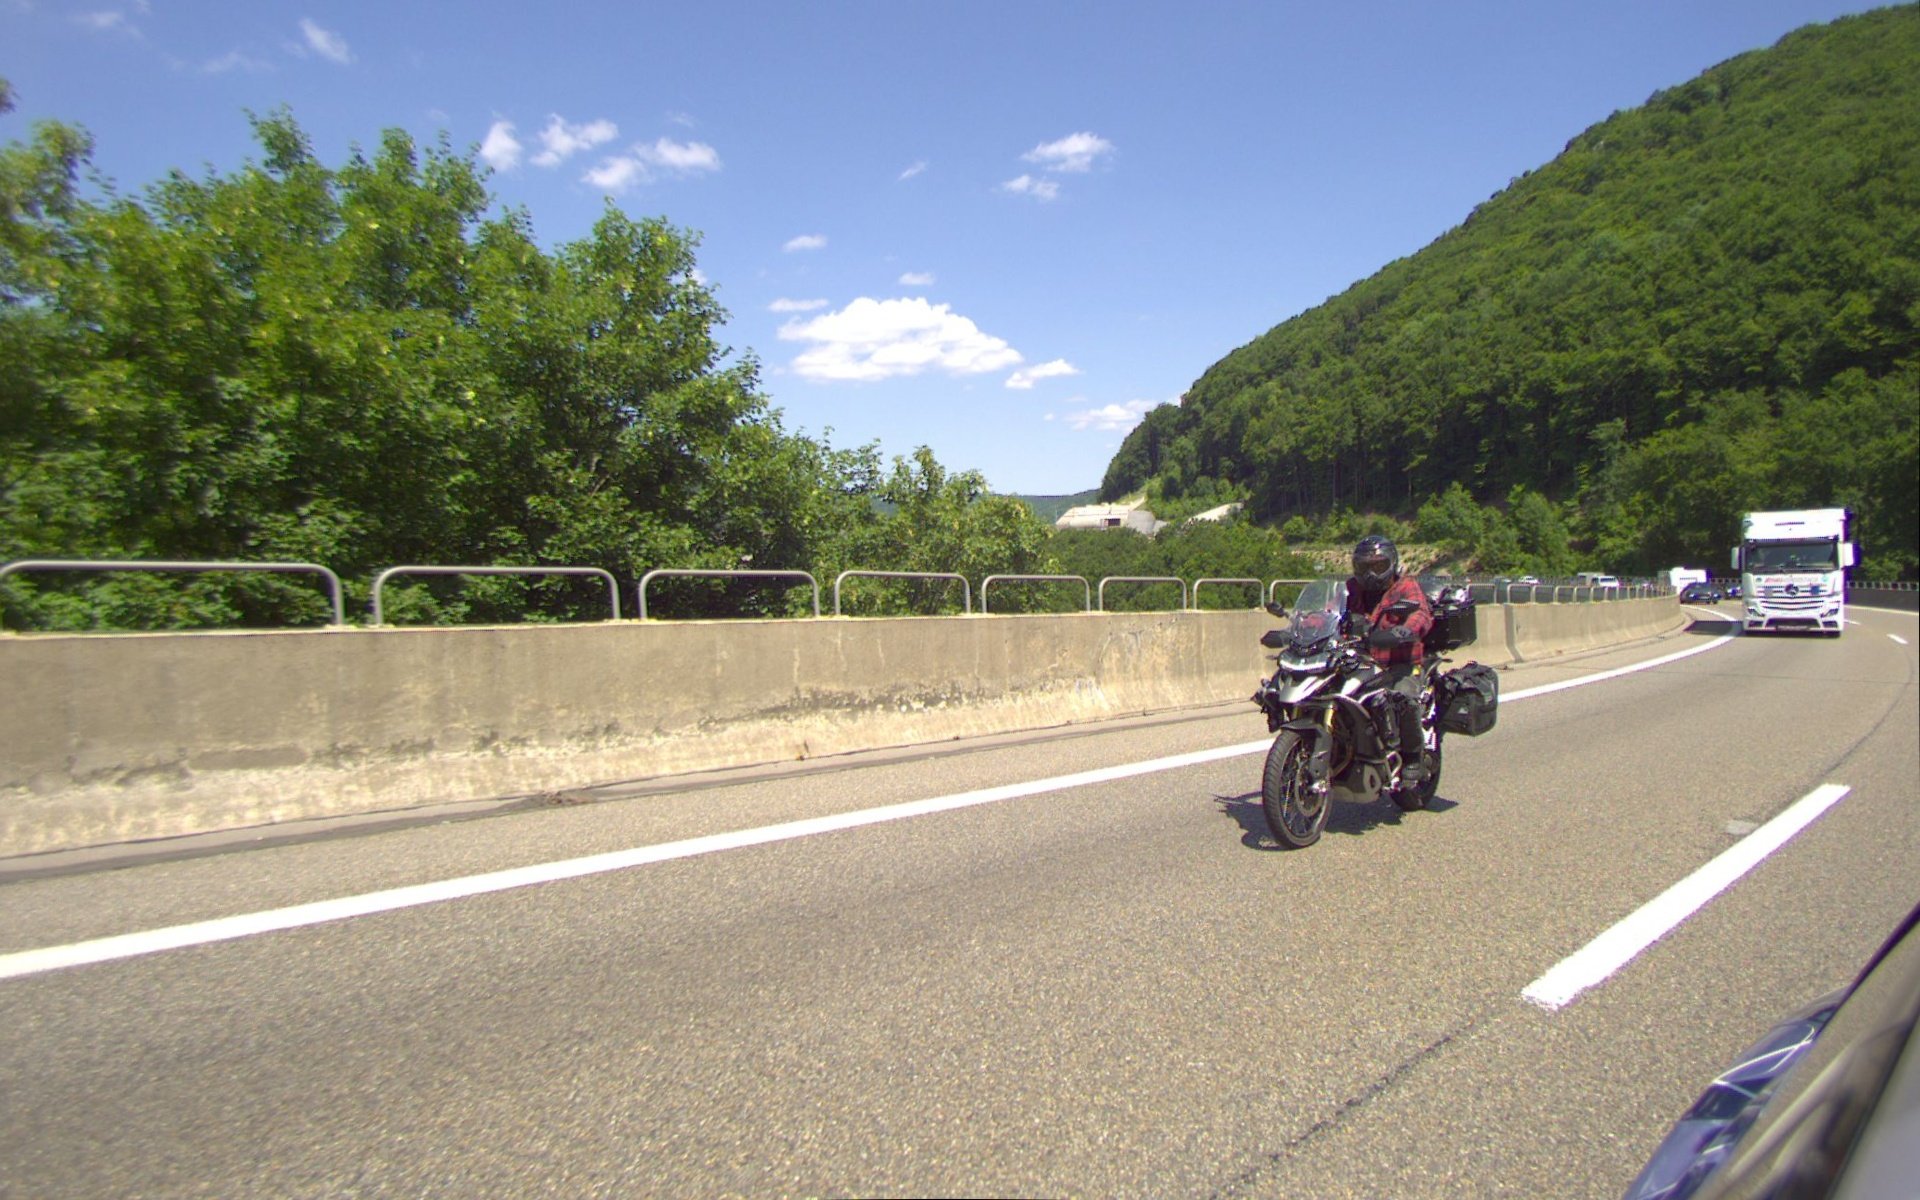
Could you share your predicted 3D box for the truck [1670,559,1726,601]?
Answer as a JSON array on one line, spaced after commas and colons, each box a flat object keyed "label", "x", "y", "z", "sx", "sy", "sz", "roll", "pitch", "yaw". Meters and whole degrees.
[{"label": "truck", "x": 58.168, "y": -1.558, "z": 79.881, "sx": 2.595, "sy": 3.141, "sz": 6.787, "roll": 0, "pitch": 1, "yaw": 28}]

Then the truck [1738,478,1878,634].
[{"label": "truck", "x": 28.712, "y": -1.275, "z": 34.410, "sx": 2.957, "sy": 4.184, "sz": 16.467, "roll": 1, "pitch": 1, "yaw": 40}]

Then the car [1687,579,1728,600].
[{"label": "car", "x": 55.481, "y": -0.763, "z": 75.161, "sx": 1.739, "sy": 1.507, "sz": 3.947, "roll": 1, "pitch": 1, "yaw": 26}]

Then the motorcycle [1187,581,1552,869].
[{"label": "motorcycle", "x": 2.628, "y": 0.609, "z": 6.289, "sx": 2.633, "sy": 1.437, "sz": 0.974, "roll": 0, "pitch": 1, "yaw": -40}]

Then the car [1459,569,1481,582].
[{"label": "car", "x": 86.482, "y": -4.154, "z": 171.604, "sx": 1.964, "sy": 2.039, "sz": 3.997, "roll": 1, "pitch": 1, "yaw": 4}]

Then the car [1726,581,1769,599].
[{"label": "car", "x": 65.187, "y": -0.843, "z": 83.826, "sx": 1.980, "sy": 1.471, "sz": 3.964, "roll": 1, "pitch": 1, "yaw": 26}]

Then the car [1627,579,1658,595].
[{"label": "car", "x": 76.028, "y": -1.474, "z": 112.808, "sx": 1.976, "sy": 1.816, "sz": 3.972, "roll": 1, "pitch": 1, "yaw": 21}]

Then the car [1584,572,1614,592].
[{"label": "car", "x": 71.815, "y": -2.078, "z": 113.850, "sx": 1.976, "sy": 2.037, "sz": 3.974, "roll": 3, "pitch": 4, "yaw": 21}]

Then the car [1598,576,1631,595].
[{"label": "car", "x": 69.581, "y": -1.560, "z": 107.628, "sx": 1.975, "sy": 2.039, "sz": 3.975, "roll": 1, "pitch": 1, "yaw": 20}]

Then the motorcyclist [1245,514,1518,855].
[{"label": "motorcyclist", "x": 2.604, "y": 0.438, "z": 6.246, "sx": 1.314, "sy": 1.823, "sz": 1.063, "roll": 0, "pitch": 1, "yaw": -39}]

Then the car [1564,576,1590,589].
[{"label": "car", "x": 82.495, "y": -2.333, "z": 135.358, "sx": 1.971, "sy": 1.816, "sz": 3.982, "roll": 0, "pitch": 1, "yaw": 15}]

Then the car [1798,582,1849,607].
[{"label": "car", "x": 54.802, "y": -0.368, "z": 64.297, "sx": 1.742, "sy": 1.507, "sz": 3.941, "roll": 1, "pitch": 1, "yaw": 30}]
